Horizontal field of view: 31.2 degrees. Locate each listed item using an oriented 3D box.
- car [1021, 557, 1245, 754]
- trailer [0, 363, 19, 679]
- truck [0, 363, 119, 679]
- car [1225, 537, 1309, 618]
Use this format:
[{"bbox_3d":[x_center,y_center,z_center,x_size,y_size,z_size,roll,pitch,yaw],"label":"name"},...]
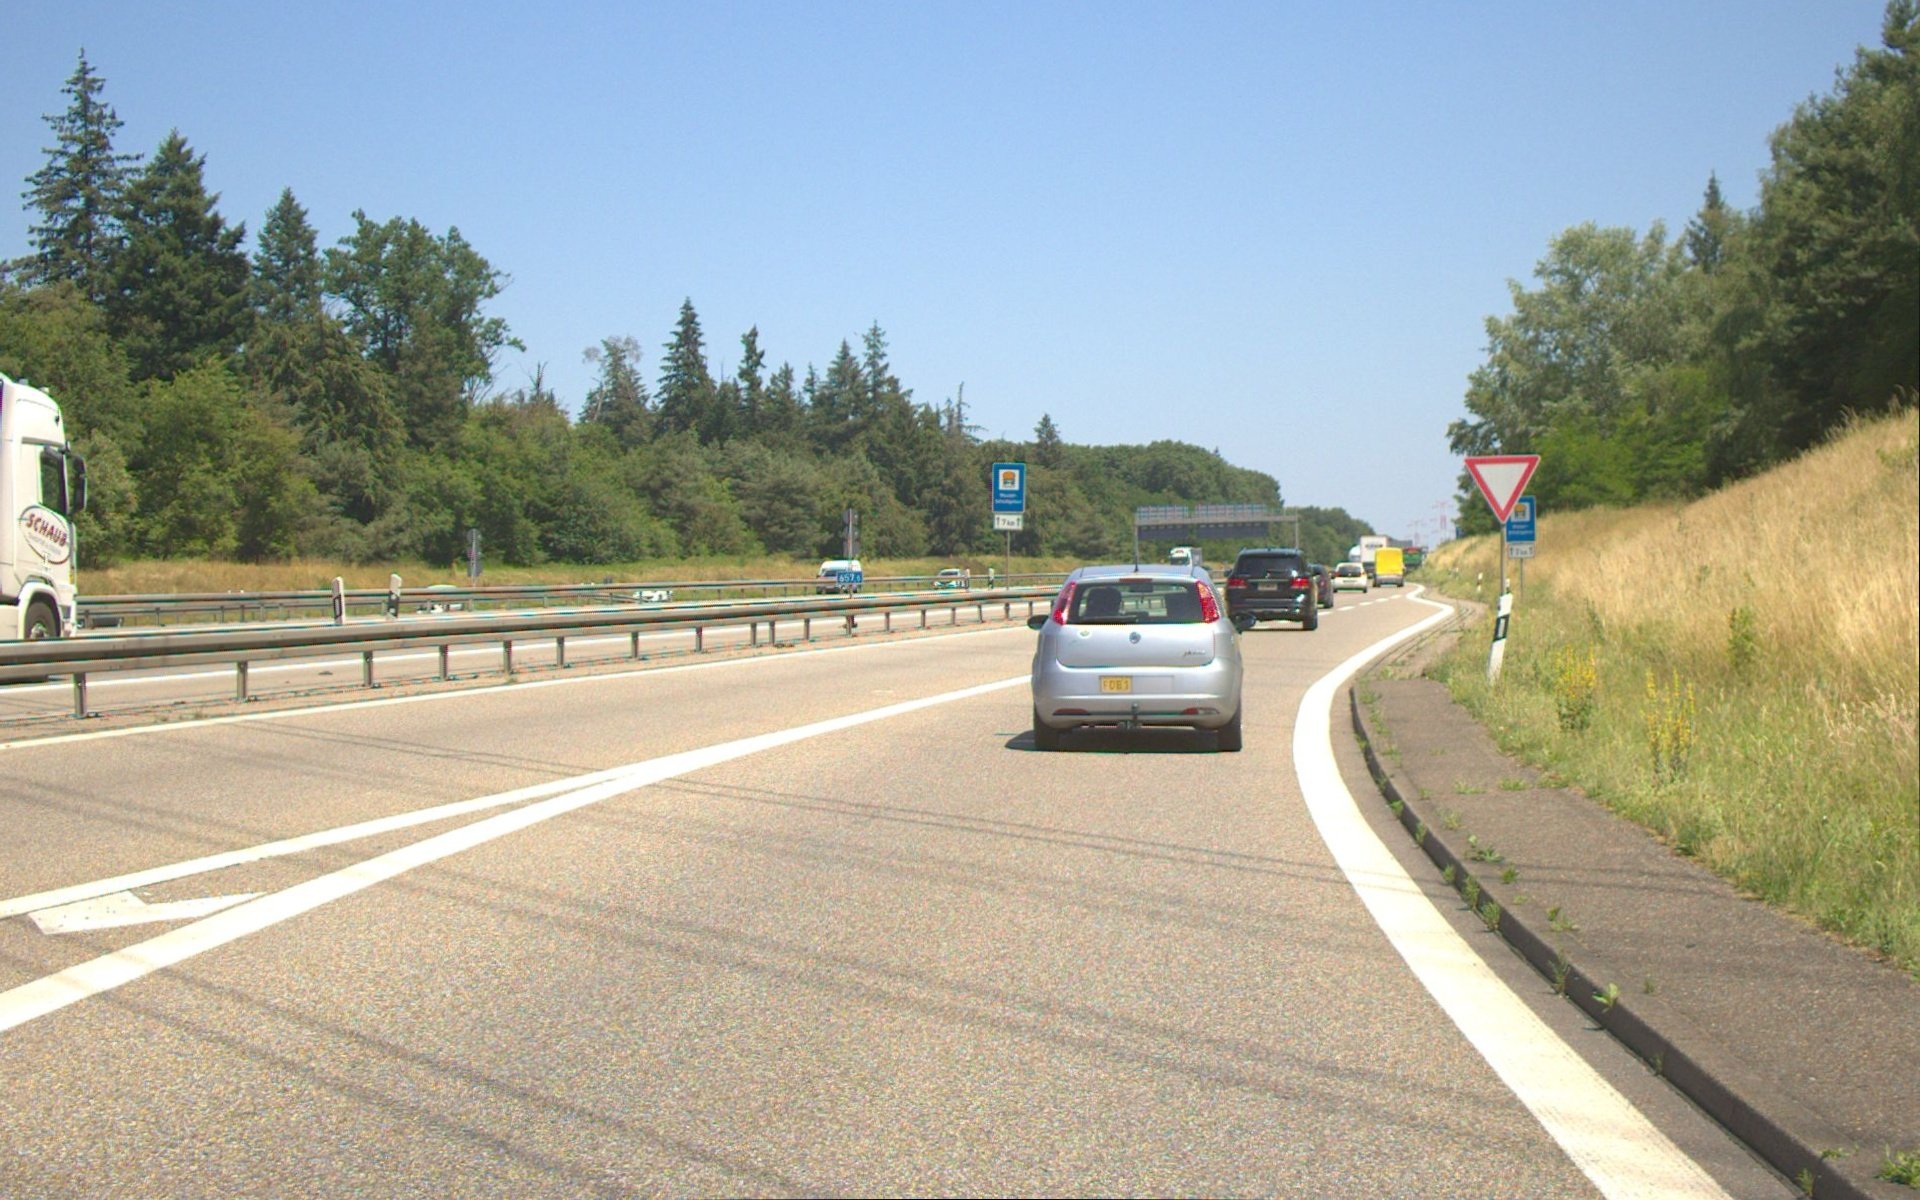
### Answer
[{"bbox_3d":[1.454,0.405,28.243,1.706,1.476,3.397,1,1,4],"label":"car"},{"bbox_3d":[-13.580,-0.884,37.056,2.772,3.794,9.881,0,1,9],"label":"trailer"},{"bbox_3d":[-12.687,-0.963,42.633,2.757,3.794,4.620,0,1,9],"label":"truck"},{"bbox_3d":[6.636,-0.468,74.142,1.707,1.670,3.396,0,-1,7],"label":"car"}]
